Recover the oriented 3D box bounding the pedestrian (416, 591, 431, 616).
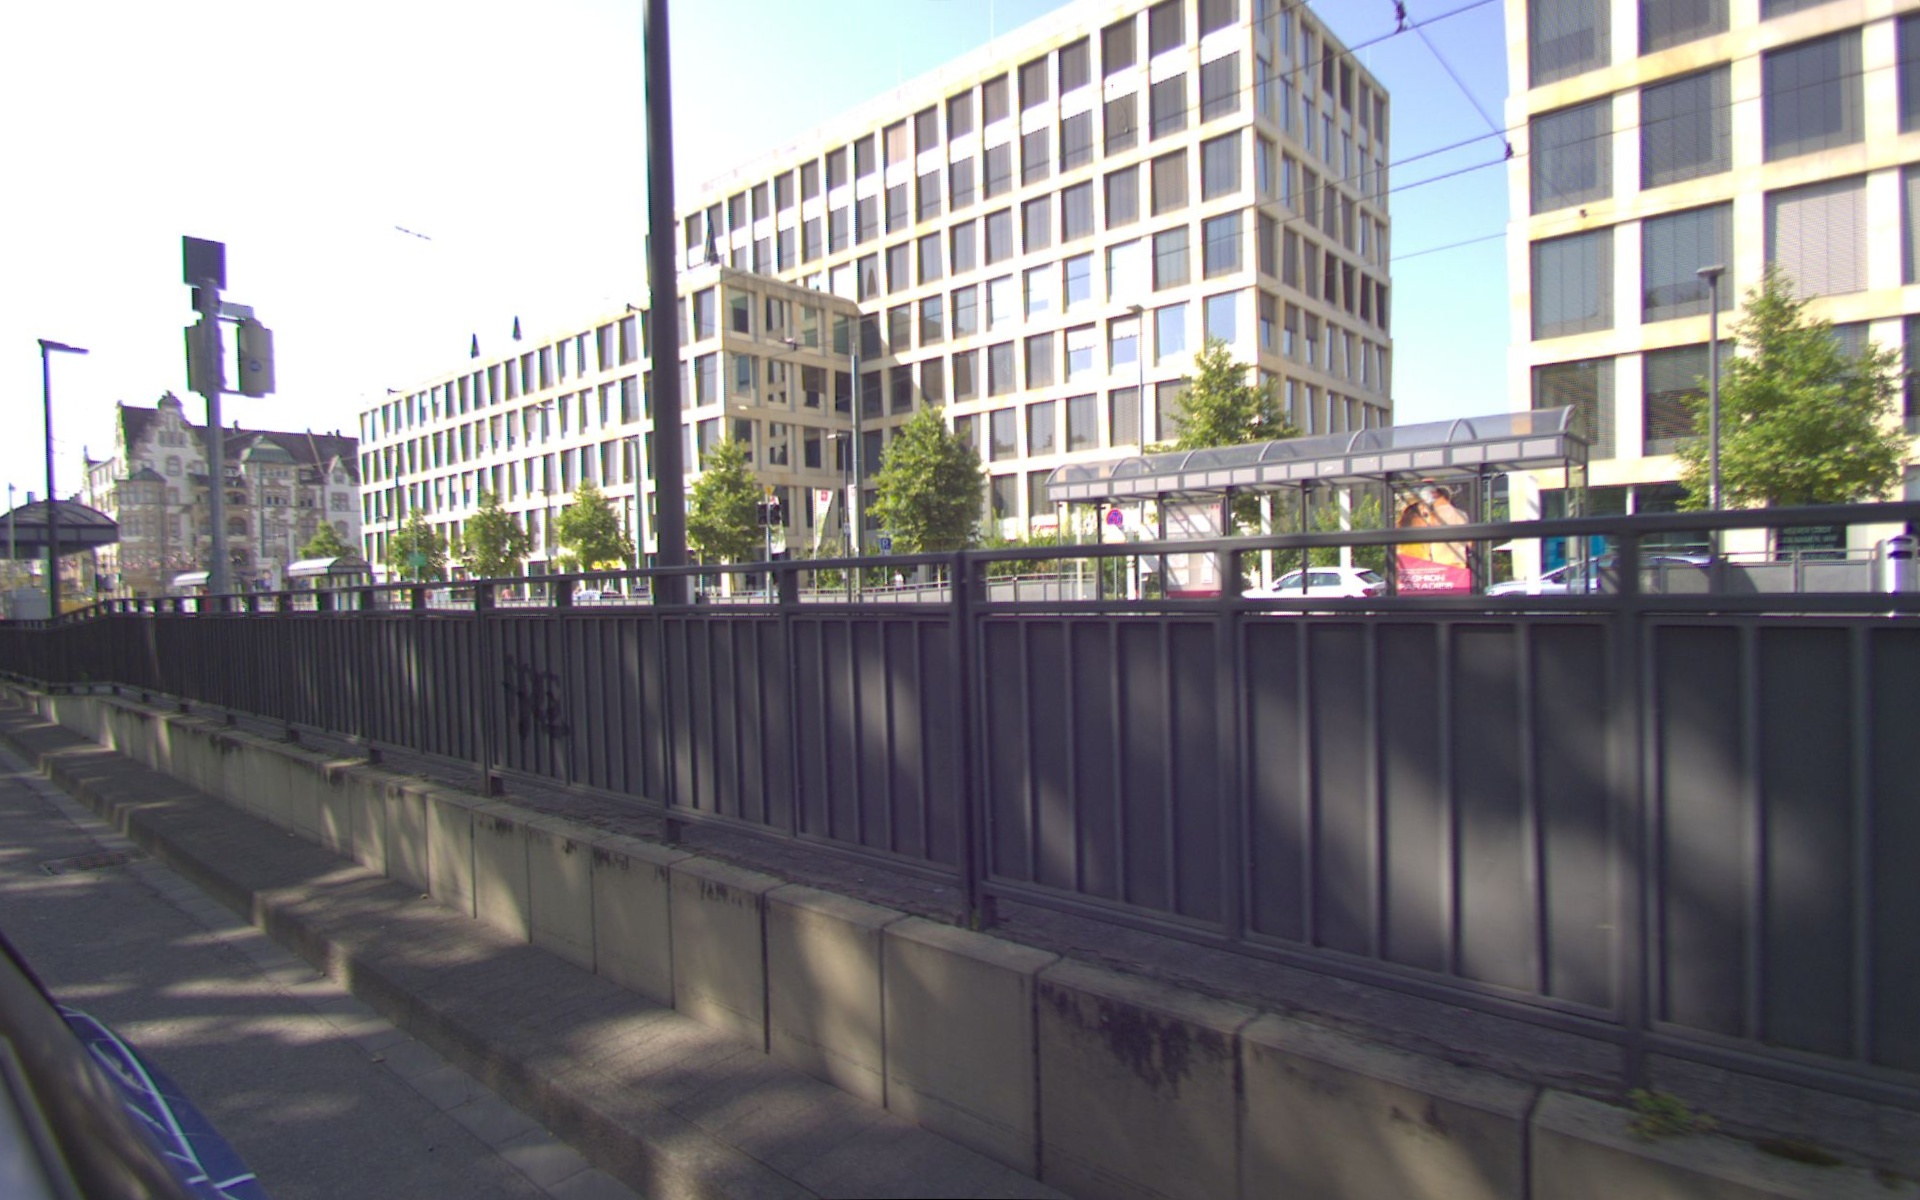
[{"bbox_3d":[-43.553,0.299,82.188,0.690,2.029,0.843,0,-1,40],"label":"pedestrian"}]

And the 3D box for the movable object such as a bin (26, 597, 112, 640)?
[{"bbox_3d":[-71.156,1.446,80.866,3.548,3.247,4.090,-2,0,26],"label":"movable object such as a bin"}]

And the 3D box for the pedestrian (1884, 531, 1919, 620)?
[{"bbox_3d":[21.861,-0.557,23.309,0.822,2.029,0.557,0,-1,41],"label":"pedestrian"}]

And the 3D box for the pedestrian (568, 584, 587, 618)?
[{"bbox_3d":[-23.255,0.056,61.507,0.822,2.029,0.758,-1,1,45],"label":"pedestrian"}]

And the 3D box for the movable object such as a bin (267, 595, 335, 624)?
[{"bbox_3d":[-68.897,0.963,105.845,2.490,2.810,5.445,0,3,41],"label":"movable object such as a bin"}]

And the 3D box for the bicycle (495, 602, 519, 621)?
[{"bbox_3d":[-21.624,0.549,48.324,1.576,0.886,0.384,-1,1,41],"label":"bicycle"}]

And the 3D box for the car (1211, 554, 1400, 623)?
[{"bbox_3d":[8.575,-0.255,25.306,4.129,1.586,1.746,-1,0,40],"label":"car"}]

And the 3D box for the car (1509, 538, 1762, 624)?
[{"bbox_3d":[13.712,-0.326,20.656,4.129,1.586,1.746,-1,0,40],"label":"car"}]

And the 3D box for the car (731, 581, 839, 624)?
[{"bbox_3d":[-6.638,0.098,38.110,4.129,1.546,1.746,-1,0,40],"label":"car"}]

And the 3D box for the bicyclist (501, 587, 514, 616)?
[{"bbox_3d":[-21.580,0.088,48.270,0.447,1.371,0.383,-2,1,41],"label":"bicyclist"}]

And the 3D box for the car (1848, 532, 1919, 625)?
[{"bbox_3d":[17.982,-0.398,17.300,4.129,1.586,1.746,-1,0,40],"label":"car"}]

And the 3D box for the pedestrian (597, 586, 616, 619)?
[{"bbox_3d":[-21.754,0.143,62.266,0.822,2.029,0.758,-1,1,44],"label":"pedestrian"}]

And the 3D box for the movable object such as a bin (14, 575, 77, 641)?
[{"bbox_3d":[-66.443,0.594,73.537,4.212,4.588,2.954,-2,0,43],"label":"movable object such as a bin"}]

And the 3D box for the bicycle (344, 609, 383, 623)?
[{"bbox_3d":[-47.050,1.232,79.817,1.019,0.975,2.407,-2,1,39],"label":"bicycle"}]
